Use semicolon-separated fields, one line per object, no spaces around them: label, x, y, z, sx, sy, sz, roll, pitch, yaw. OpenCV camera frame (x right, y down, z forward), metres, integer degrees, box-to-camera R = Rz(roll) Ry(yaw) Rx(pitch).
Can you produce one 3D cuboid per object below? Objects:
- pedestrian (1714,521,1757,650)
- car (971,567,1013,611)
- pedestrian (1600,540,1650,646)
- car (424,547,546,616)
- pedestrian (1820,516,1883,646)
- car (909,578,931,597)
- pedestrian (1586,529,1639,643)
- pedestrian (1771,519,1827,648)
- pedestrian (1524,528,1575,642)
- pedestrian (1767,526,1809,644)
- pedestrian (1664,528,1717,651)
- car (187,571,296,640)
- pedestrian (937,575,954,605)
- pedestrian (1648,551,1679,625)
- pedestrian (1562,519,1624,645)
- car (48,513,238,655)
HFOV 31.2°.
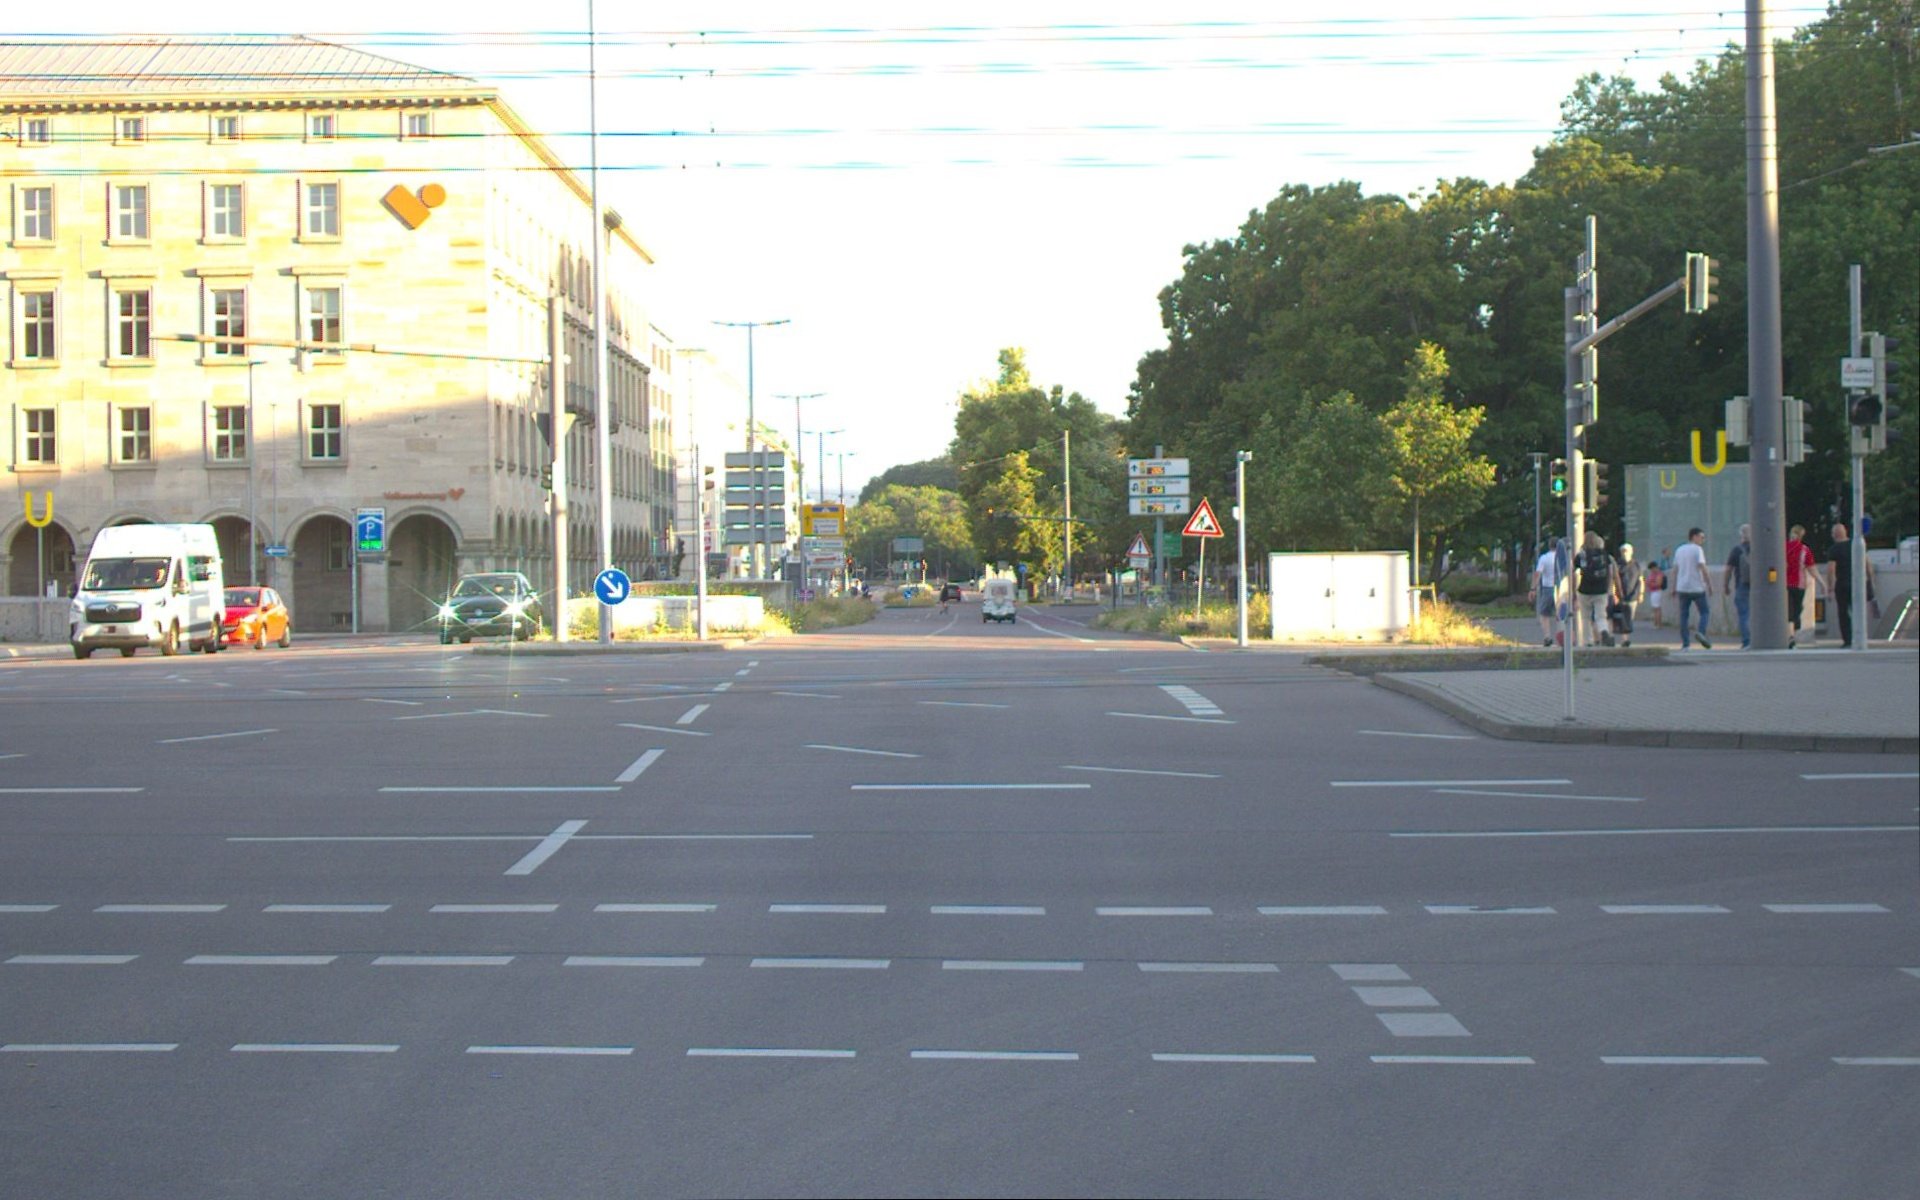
pedestrian;10.831;-0.205;48.002;0.572;1.785;0.638;0;1;14
car;1.282;-0.442;137.417;1.483;1.690;2.974;-1;1;-3
pedestrian;11.211;-0.123;57.944;0.680;1.751;0.901;0;1;20
car;-9.725;-0.404;70.605;1.823;1.337;4.000;-1;1;2
pedestrian;12.370;-0.269;47.700;0.805;1.785;0.800;0;1;12
car;-2.712;-0.879;233.247;1.370;1.230;3.045;-1;1;1
pedestrian;9.871;-0.215;51.967;0.711;1.719;0.668;0;1;17
pedestrian;11.368;-0.233;46.570;0.703;1.728;0.847;0;1;16
pedestrian;8.942;-0.228;52.141;0.711;1.719;0.668;0;1;13
pedestrian;11.862;-0.223;49.238;0.572;1.673;0.638;0;1;14
pedestrian;10.364;-0.157;48.797;0.711;1.719;0.914;0;1;11
car;-16.530;0.102;79.242;1.738;1.482;4.000;-1;1;-1
pedestrian;-0.787;-0.567;192.704;0.906;1.665;1.307;-1;1;-1
pedestrian;17.414;-0.299;85.137;0.666;1.836;0.713;-1;1;5
pedestrian;8.734;-0.251;47.472;0.711;1.719;0.915;-1;1;2
car;-16.694;-0.354;70.602;2.279;2.766;6.083;-1;1;1
